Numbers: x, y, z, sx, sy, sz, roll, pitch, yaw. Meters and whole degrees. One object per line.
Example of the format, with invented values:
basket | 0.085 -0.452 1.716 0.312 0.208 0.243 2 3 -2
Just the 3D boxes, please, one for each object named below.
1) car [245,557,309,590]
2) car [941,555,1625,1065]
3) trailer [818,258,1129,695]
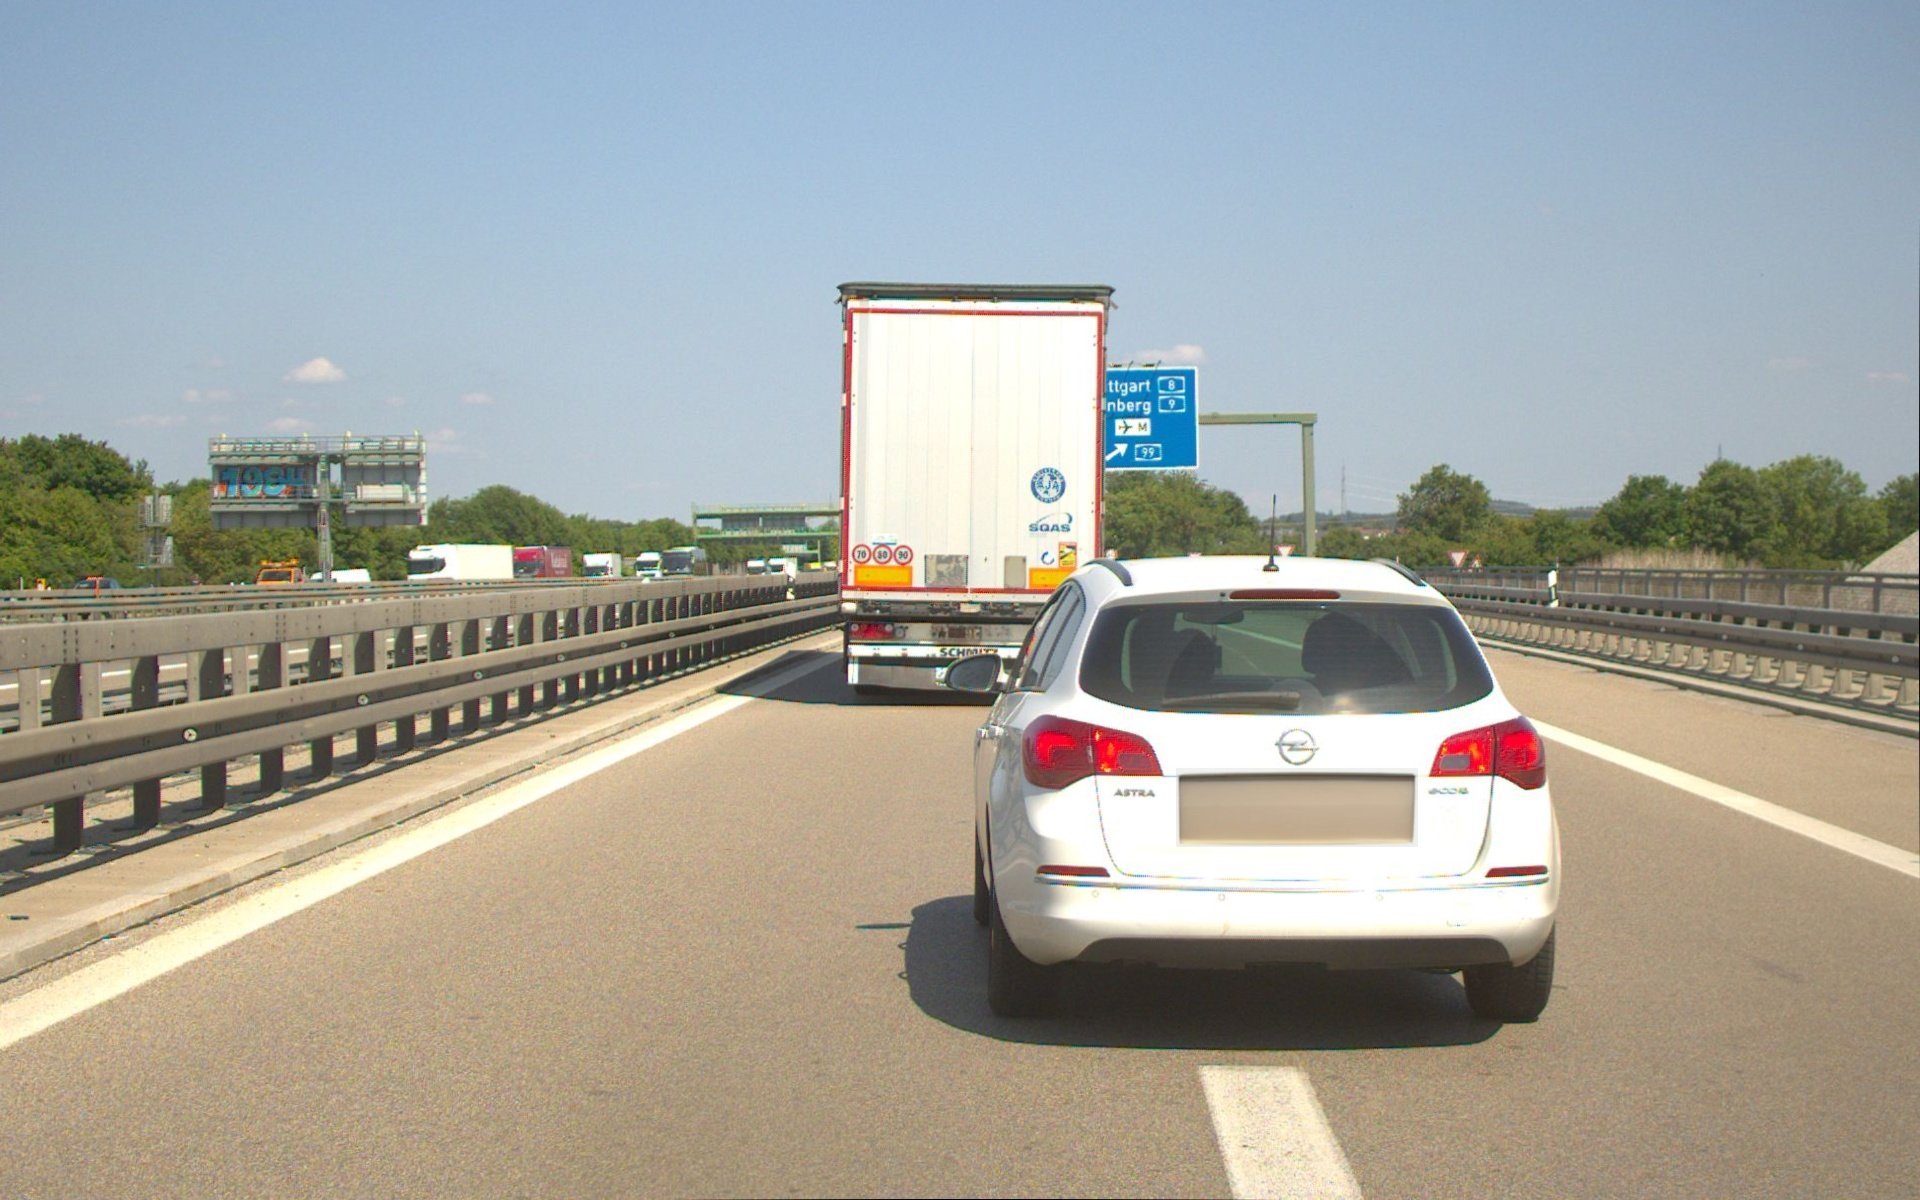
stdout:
car | -32.700 -1.285 164.710 1.838 1.512 5.297 0 1 2
car | 0.918 0.578 12.073 1.854 1.438 4.372 0 1 -2
trailer | 0.297 -1.199 38.335 2.912 4.131 11.257 1 0 2
